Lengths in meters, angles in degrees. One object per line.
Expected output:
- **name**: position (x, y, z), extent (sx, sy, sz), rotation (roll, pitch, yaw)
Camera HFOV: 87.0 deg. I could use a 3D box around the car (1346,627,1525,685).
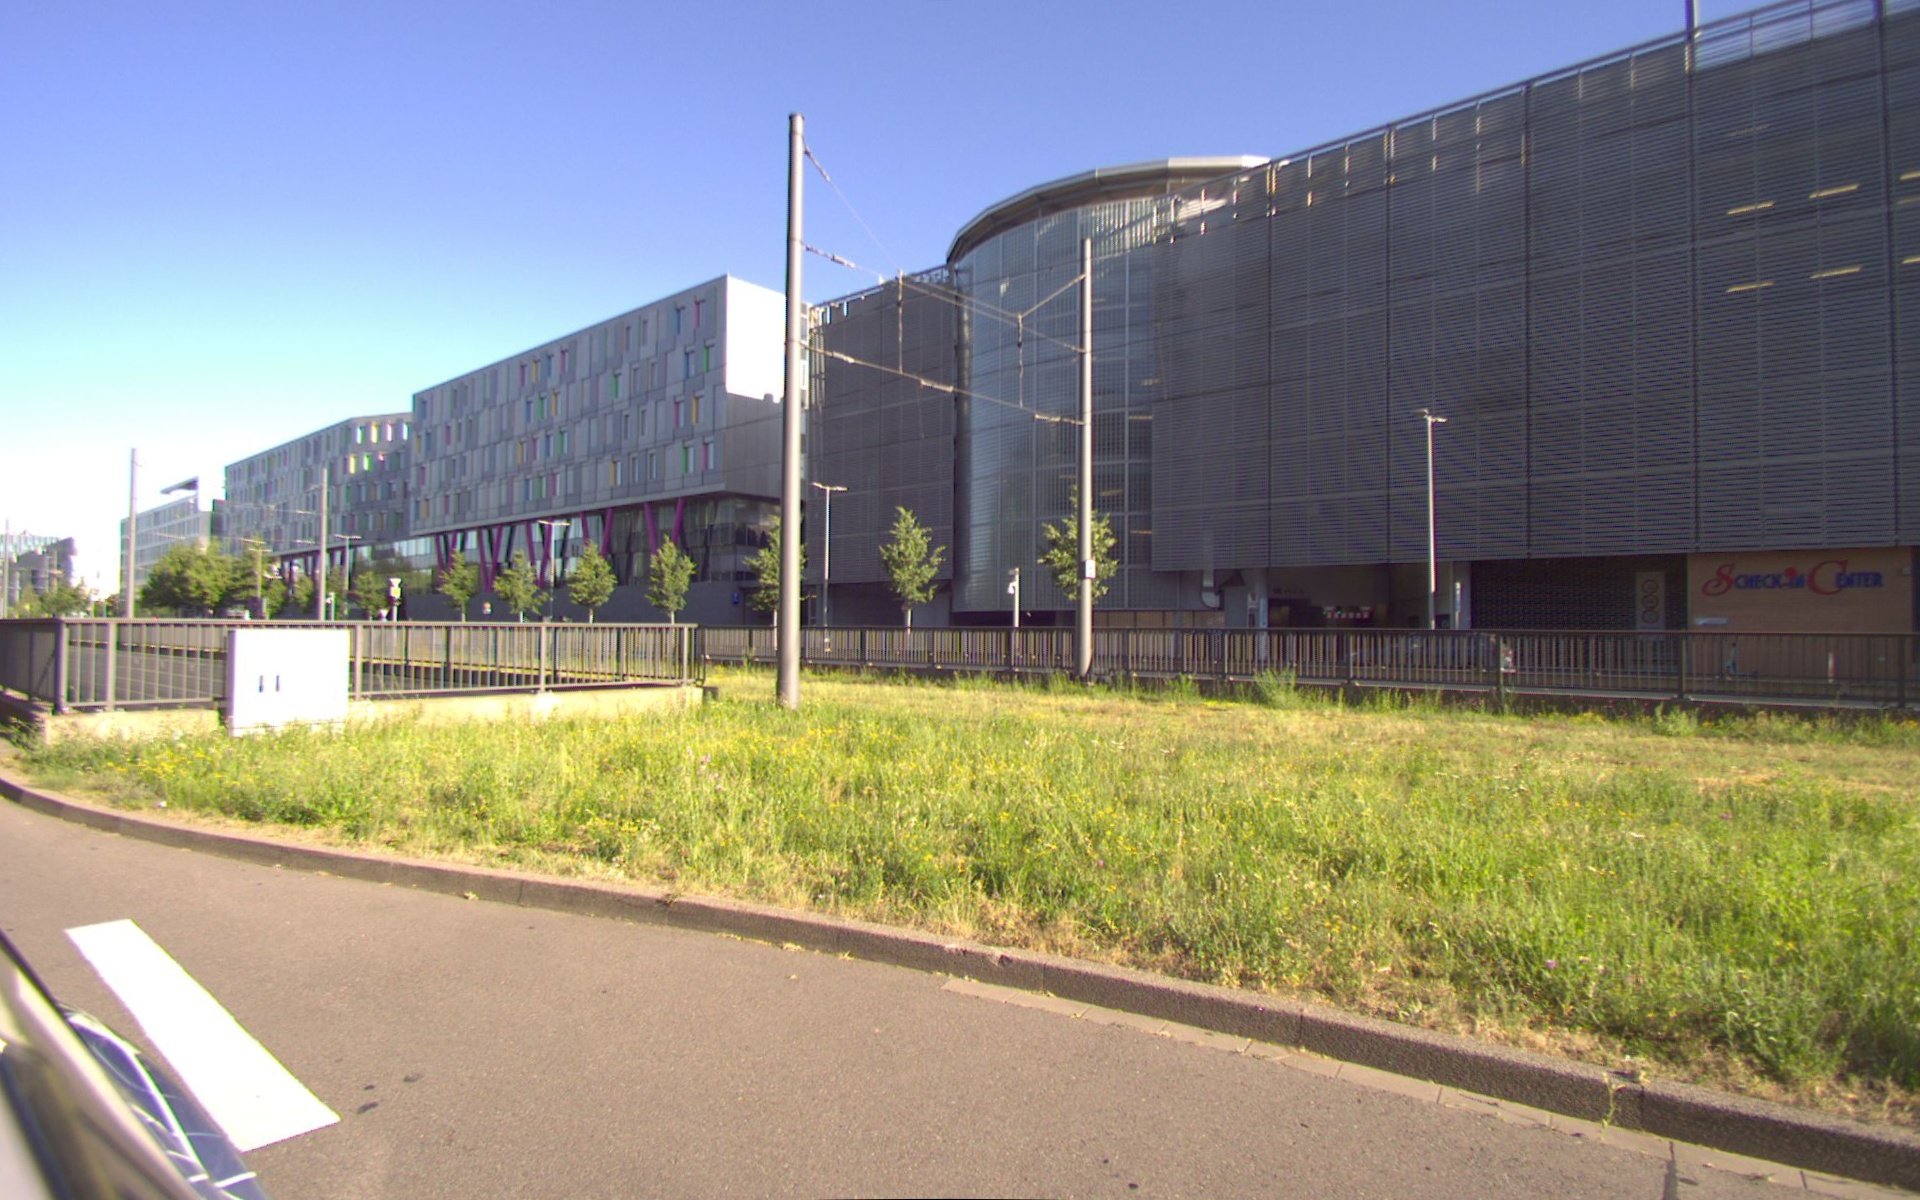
- **car**: position (13.545, 1.540, 28.972), extent (4.242, 1.512, 1.972), rotation (-1, -2, 42)
